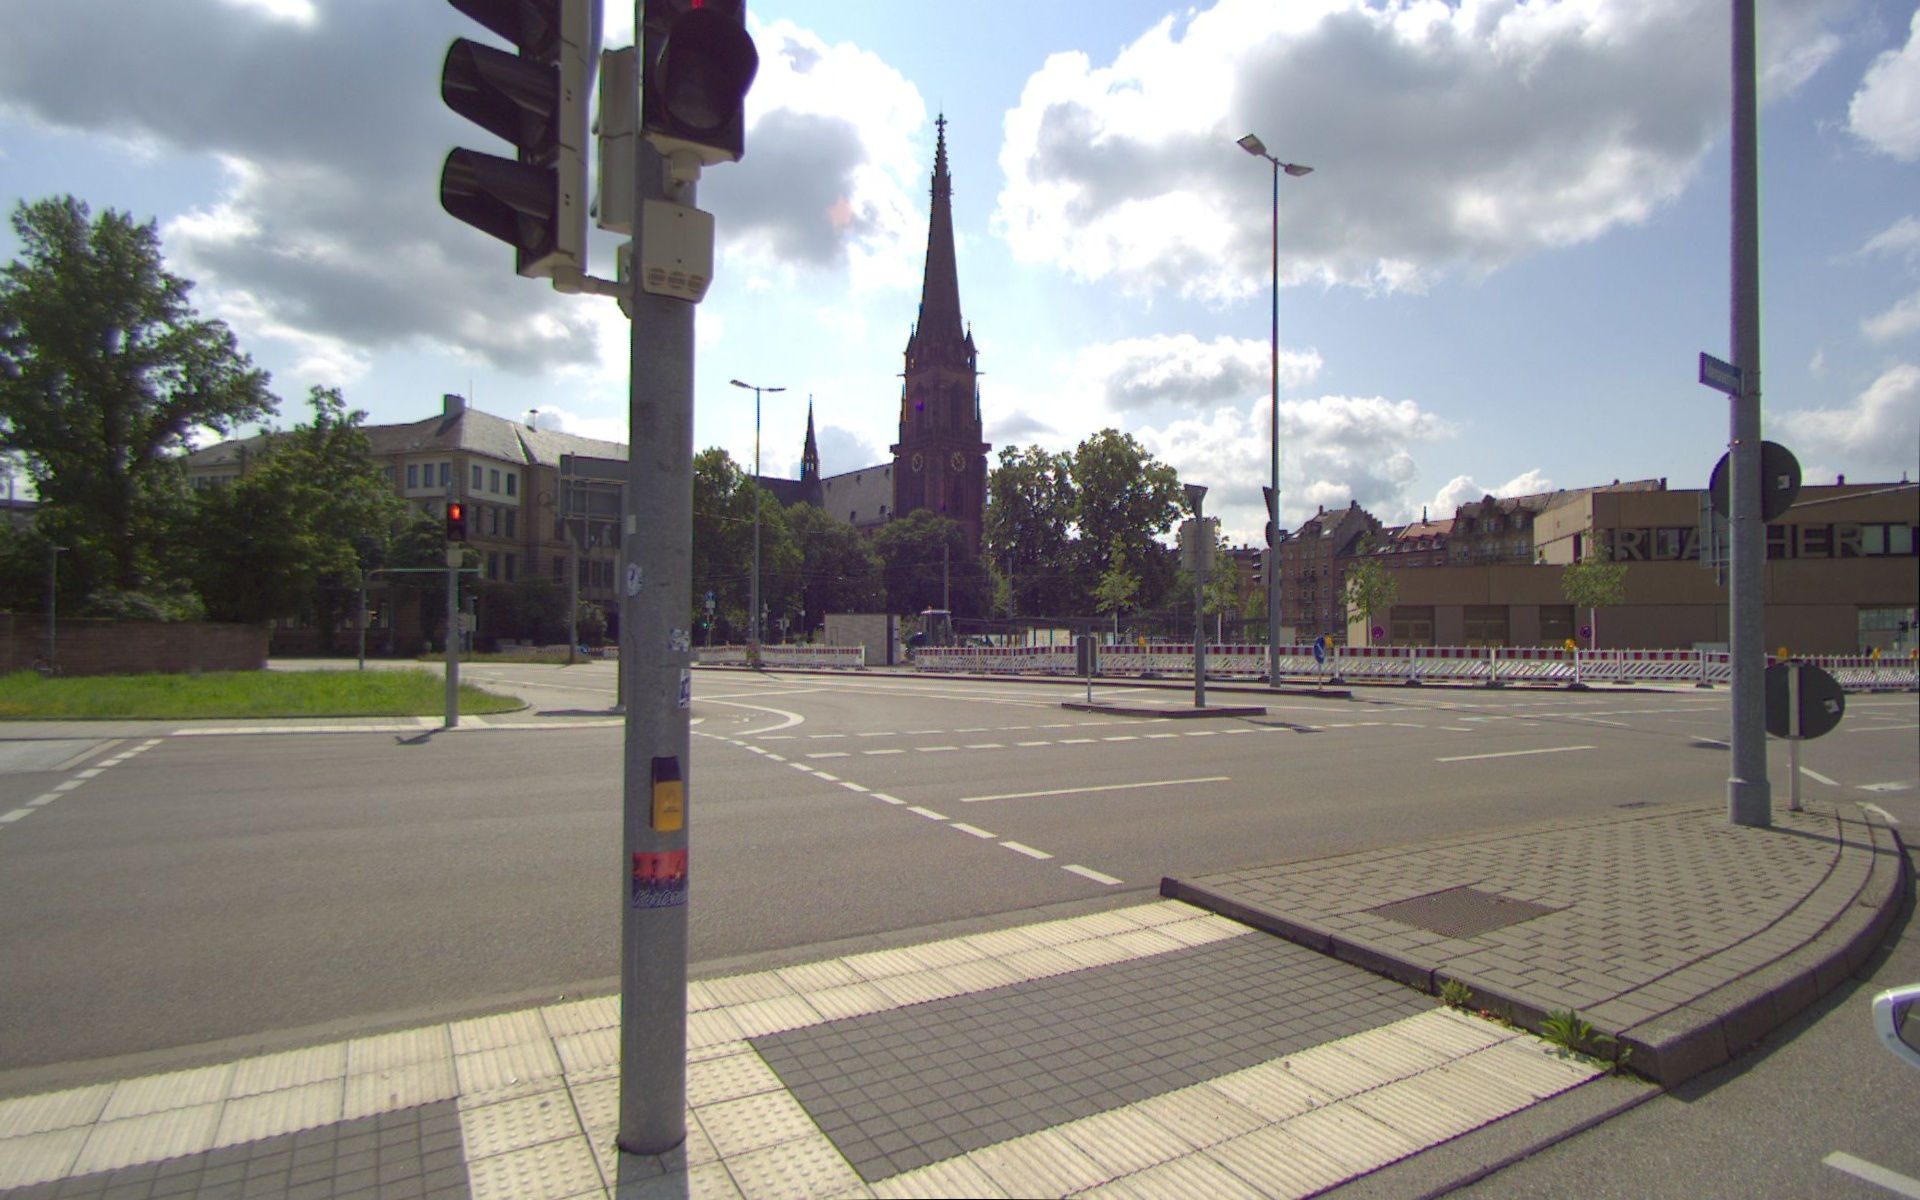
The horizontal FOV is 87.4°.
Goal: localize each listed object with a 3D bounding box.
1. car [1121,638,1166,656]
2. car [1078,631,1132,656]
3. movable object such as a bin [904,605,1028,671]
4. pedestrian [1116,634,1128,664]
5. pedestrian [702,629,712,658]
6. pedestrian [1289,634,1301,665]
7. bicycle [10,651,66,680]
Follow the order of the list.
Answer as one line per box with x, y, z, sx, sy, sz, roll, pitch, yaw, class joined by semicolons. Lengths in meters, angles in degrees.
19.041;4.877;104.475;4.290;1.817;1.782;-1;-2;26;car
11.793;3.527;81.515;4.096;1.906;1.804;0;-2;16;car
0.311;1.748;46.240;5.430;2.922;2.290;0;-2;8;movable object such as a bin
11.235;3.396;69.797;0.747;2.040;0.751;0;-2;15;pedestrian
-16.111;2.771;64.004;0.493;1.874;0.525;1;-2;-28;pedestrian
21.988;3.242;65.968;0.688;2.040;0.556;0;-2;17;pedestrian
-32.338;2.283;35.244;0.386;1.005;1.524;0;-2;7;bicycle
